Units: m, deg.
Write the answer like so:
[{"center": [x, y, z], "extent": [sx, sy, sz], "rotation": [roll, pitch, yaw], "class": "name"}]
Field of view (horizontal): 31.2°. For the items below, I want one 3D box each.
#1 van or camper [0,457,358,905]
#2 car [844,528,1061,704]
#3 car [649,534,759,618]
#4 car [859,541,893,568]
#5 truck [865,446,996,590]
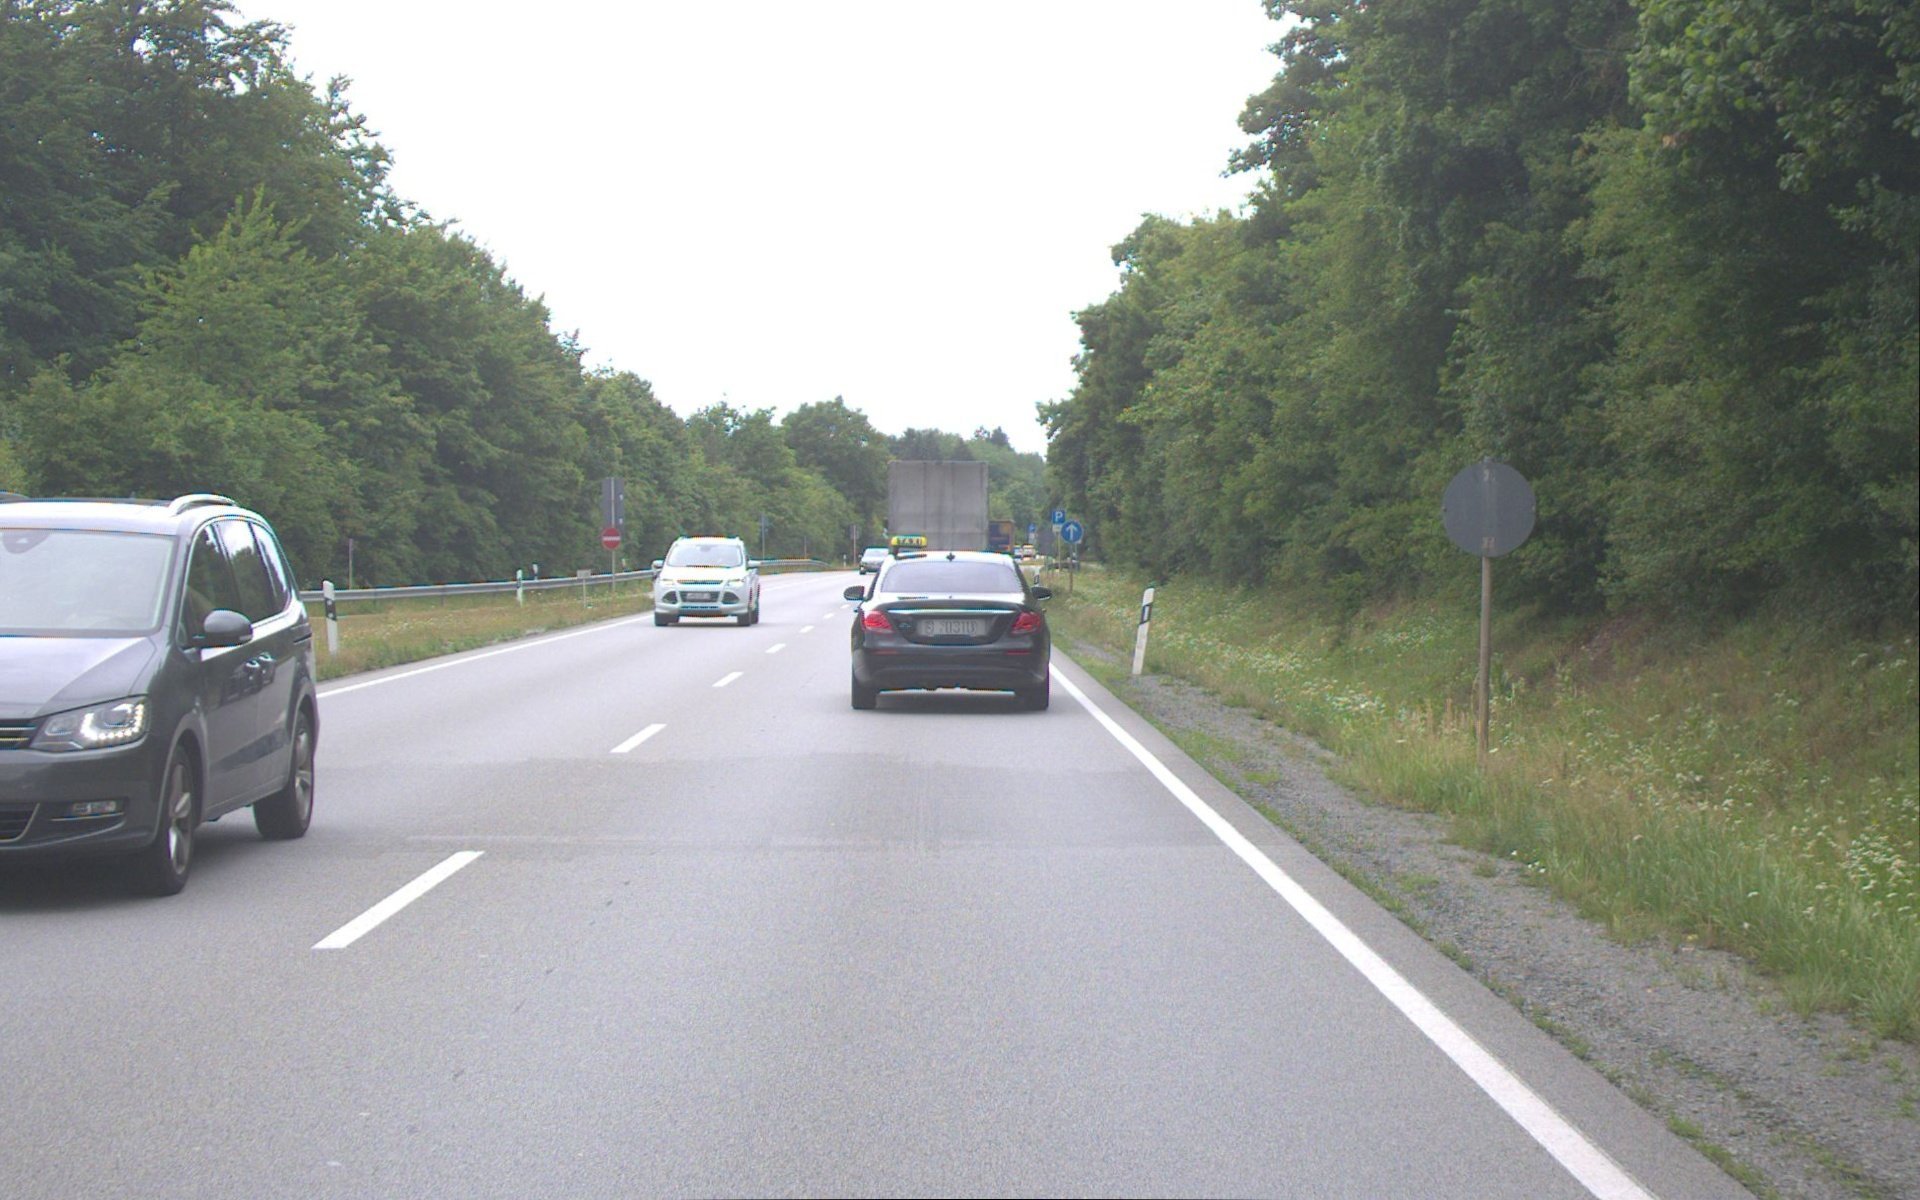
[{"center": [-4.138, 0.284, 15.904], "extent": [1.993, 1.777, 4.422], "rotation": [1, 1, -1], "class": "van or camper"}, {"center": [-0.131, 0.112, 32.561], "extent": [1.791, 1.546, 4.001], "rotation": [1, 1, -4], "class": "car"}, {"center": [-4.917, -0.482, 66.415], "extent": [1.875, 1.554, 3.755], "rotation": [1, 1, -1], "class": "car"}, {"center": [-4.698, -2.552, 191.737], "extent": [1.808, 1.437, 4.448], "rotation": [1, 1, -2], "class": "car"}, {"center": [-0.727, -2.150, 92.446], "extent": [3.281, 3.599, 11.400], "rotation": [1, 1, 0], "class": "truck"}]
